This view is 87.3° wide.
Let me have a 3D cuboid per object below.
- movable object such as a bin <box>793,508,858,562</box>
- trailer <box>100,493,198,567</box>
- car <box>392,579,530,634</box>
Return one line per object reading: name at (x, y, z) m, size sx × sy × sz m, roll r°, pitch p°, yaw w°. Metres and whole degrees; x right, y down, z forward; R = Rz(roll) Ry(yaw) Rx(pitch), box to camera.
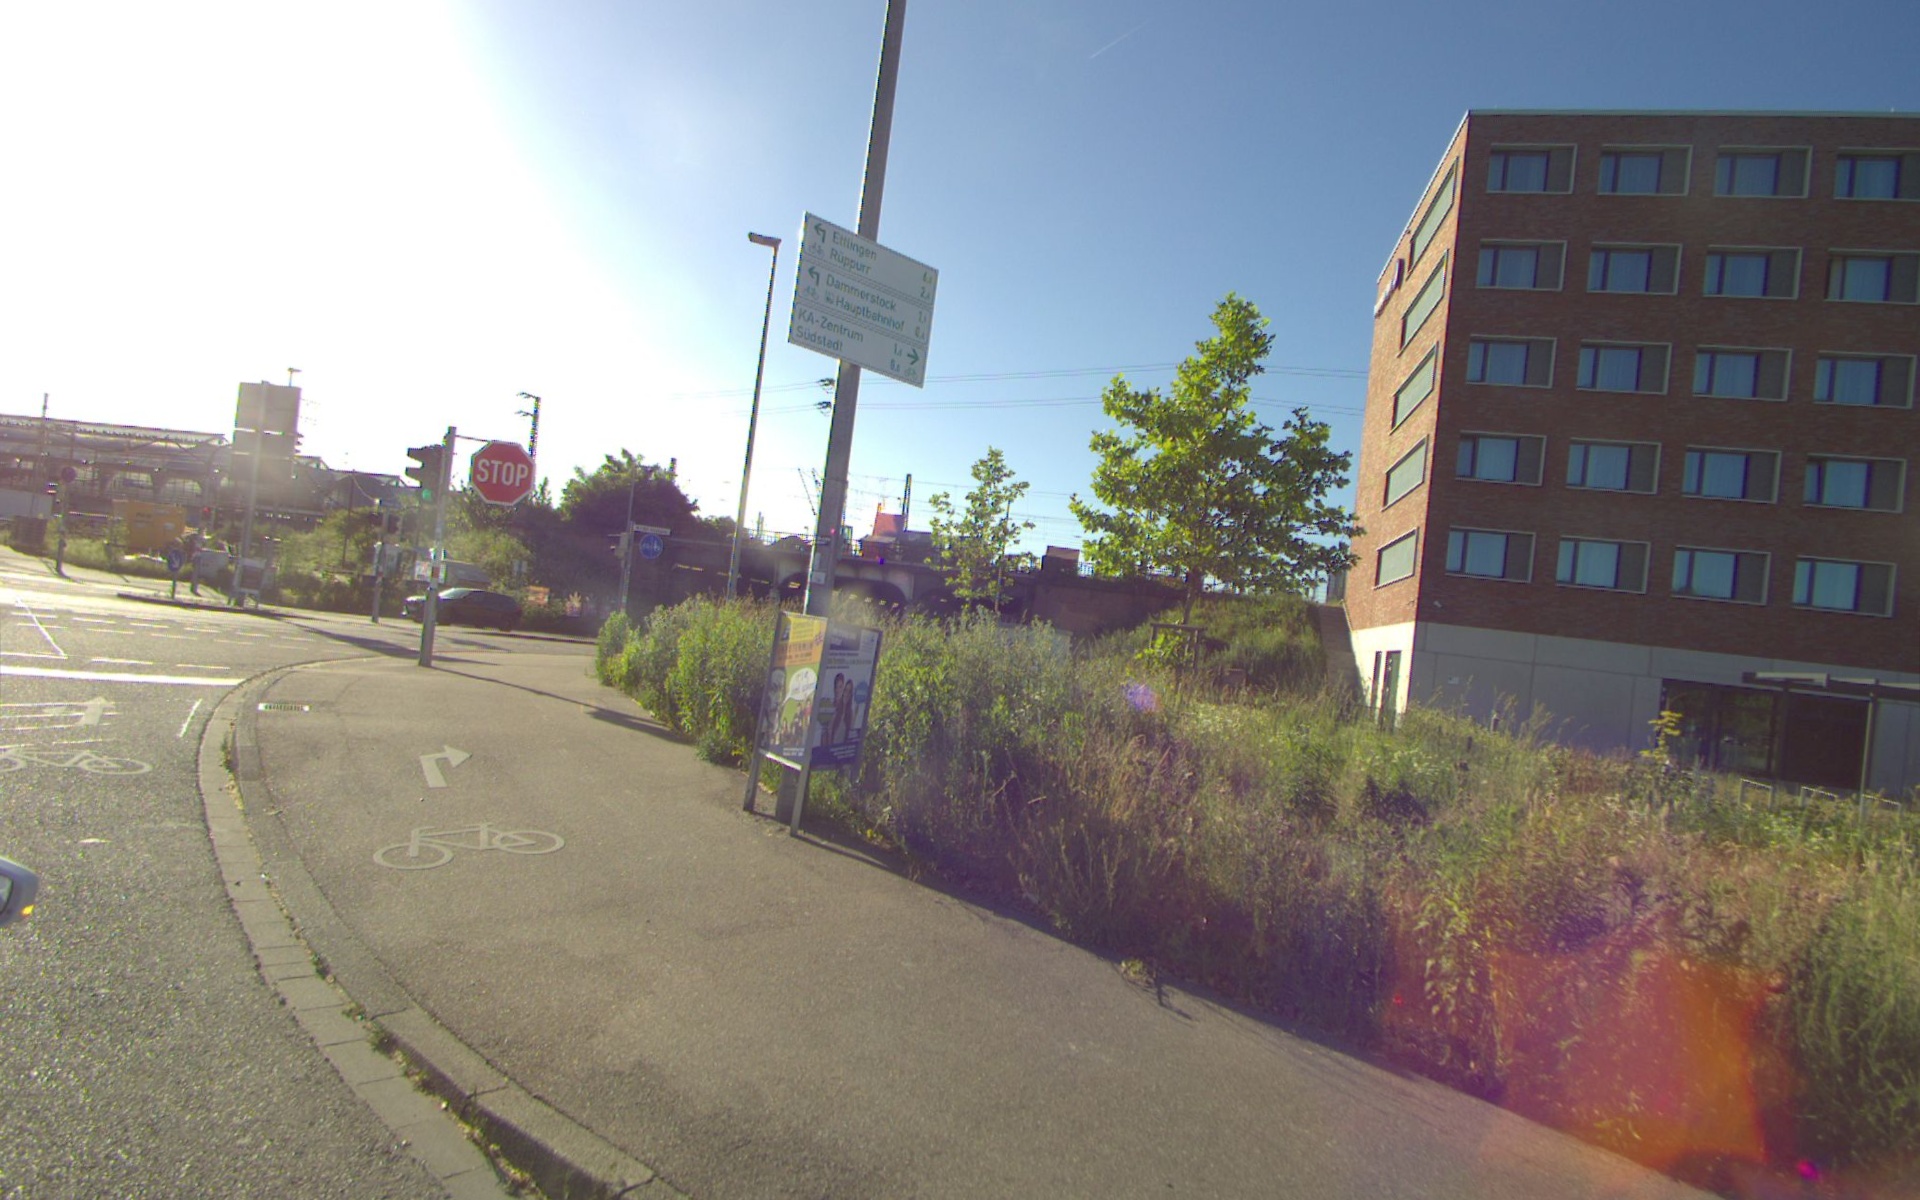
movable object such as a bin at (-7.876, -3.766, 59.294) m, size 1.962 × 2.250 × 4.839 m, roll 7°, pitch -3°, yaw 13°
trailer at (-44.194, -3.791, 54.748) m, size 6.580 × 3.328 × 2.993 m, roll 5°, pitch -4°, yaw 43°
car at (-19.139, 0.280, 38.786) m, size 1.922 × 1.534 × 4.388 m, roll 5°, pitch -3°, yaw 26°
